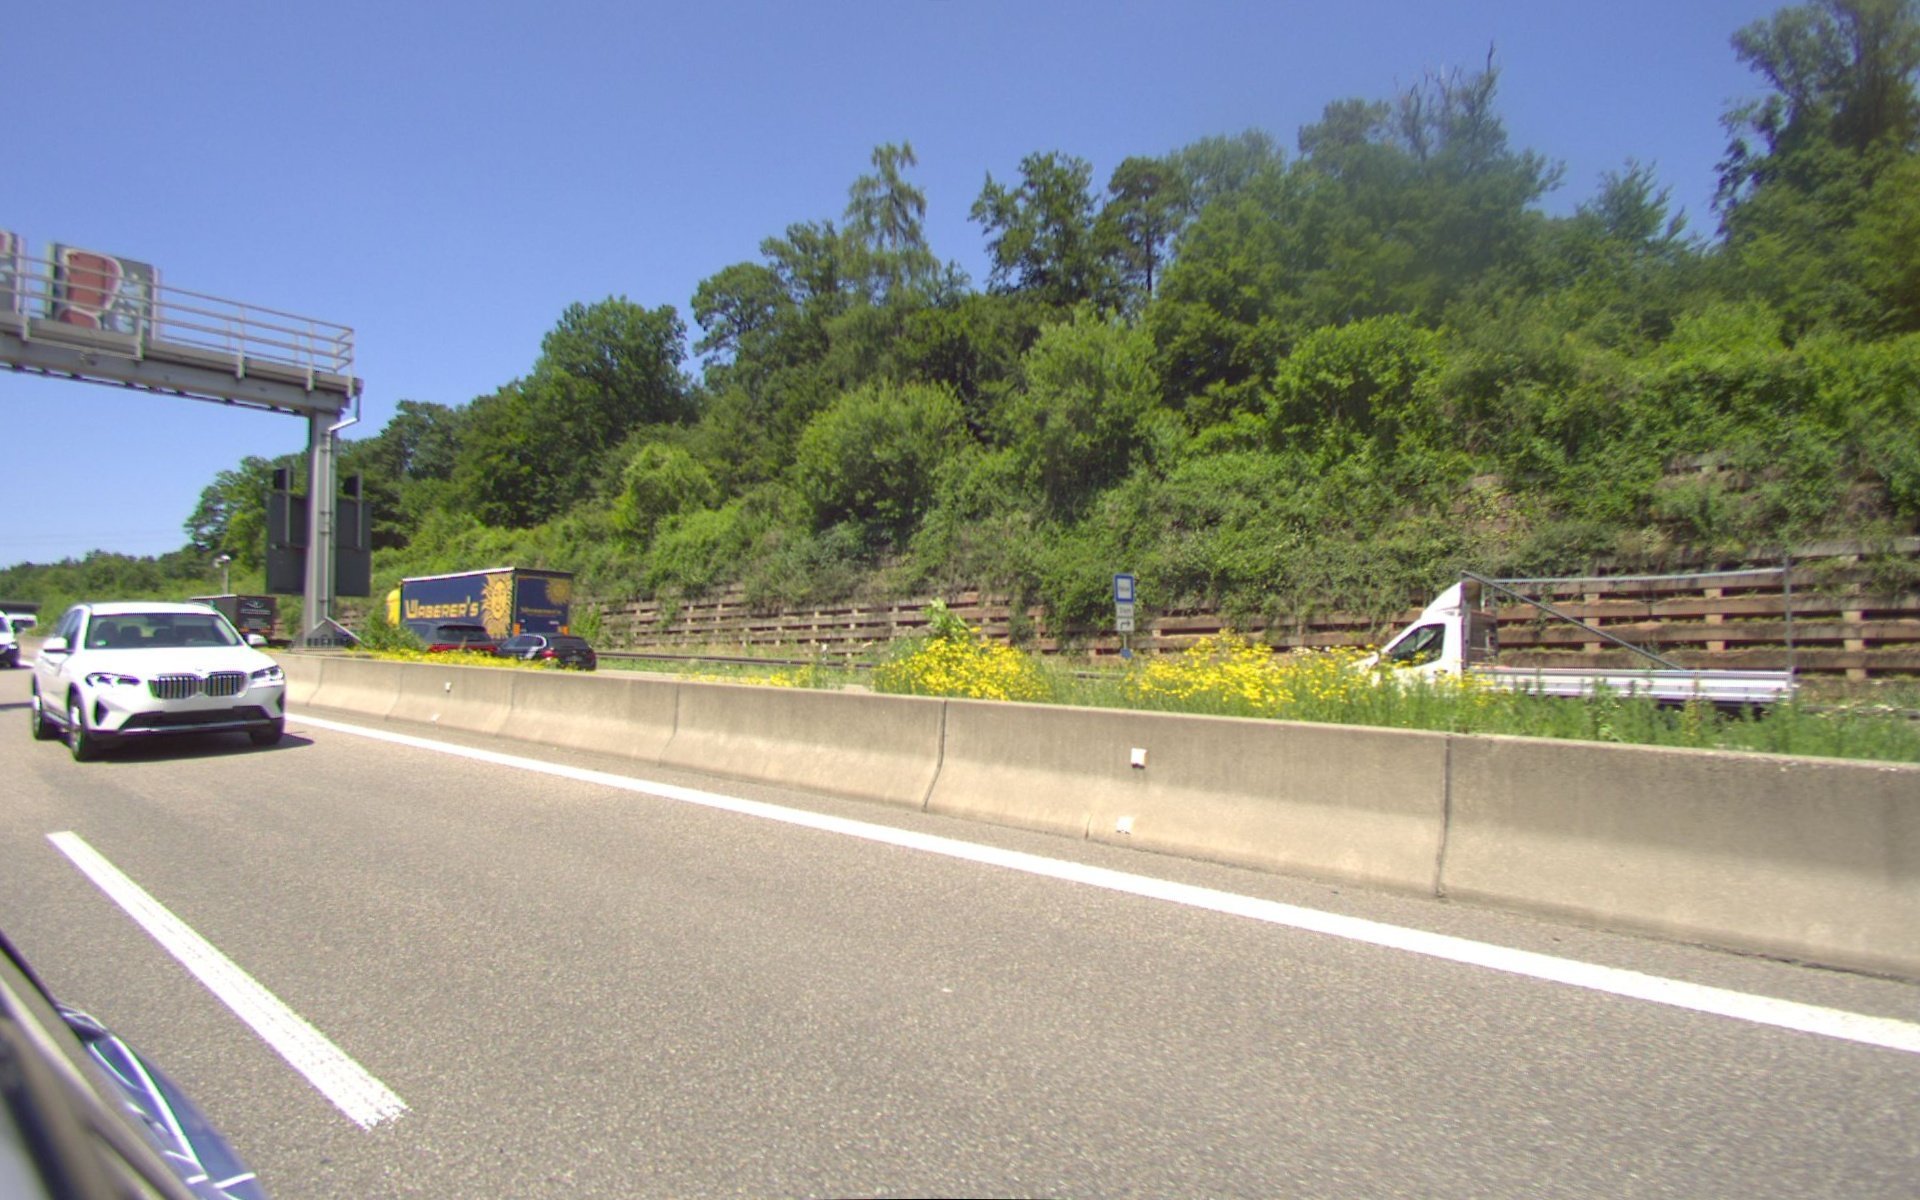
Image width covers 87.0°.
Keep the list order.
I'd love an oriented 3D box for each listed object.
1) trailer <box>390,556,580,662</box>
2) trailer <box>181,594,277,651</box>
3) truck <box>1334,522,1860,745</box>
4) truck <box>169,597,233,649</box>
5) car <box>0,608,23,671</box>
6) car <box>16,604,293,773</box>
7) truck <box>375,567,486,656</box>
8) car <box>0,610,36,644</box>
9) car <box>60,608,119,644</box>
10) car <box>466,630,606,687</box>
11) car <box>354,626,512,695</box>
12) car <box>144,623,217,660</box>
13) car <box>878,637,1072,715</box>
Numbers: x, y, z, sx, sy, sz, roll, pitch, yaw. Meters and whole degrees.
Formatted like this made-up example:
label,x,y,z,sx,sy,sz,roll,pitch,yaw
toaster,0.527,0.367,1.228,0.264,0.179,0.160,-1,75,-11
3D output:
label,x,y,z,sx,sy,sz,roll,pitch,yaw
trailer,-22.522,0.554,47.215,14.469,4.239,2.944,-1,-4,44
trailer,-57.712,1.805,79.650,13.987,4.132,2.947,-1,-4,41
truck,10.268,0.569,16.959,7.058,3.015,2.552,-2,-3,41
truck,-63.593,1.957,84.770,5.865,4.090,2.903,-1,-4,41
car,-29.635,1.189,30.278,4.501,1.788,1.972,-1,0,43
car,-9.710,0.920,12.074,4.366,1.656,1.826,-2,-1,41
truck,-27.090,0.671,51.672,6.458,4.234,2.918,-1,-4,44
car,-77.942,2.261,83.437,4.843,2.694,1.977,-2,-3,41
car,-69.324,2.099,80.565,5.680,2.694,2.726,-2,-3,41
car,-13.008,1.744,30.934,4.860,1.617,1.982,-2,-3,41
car,-13.554,1.499,25.906,4.710,1.617,1.982,-2,-3,41
car,-35.628,1.896,46.213,4.114,1.617,1.824,-2,-3,41
car,0.287,1.688,23.331,4.369,1.616,1.781,-2,-3,41
